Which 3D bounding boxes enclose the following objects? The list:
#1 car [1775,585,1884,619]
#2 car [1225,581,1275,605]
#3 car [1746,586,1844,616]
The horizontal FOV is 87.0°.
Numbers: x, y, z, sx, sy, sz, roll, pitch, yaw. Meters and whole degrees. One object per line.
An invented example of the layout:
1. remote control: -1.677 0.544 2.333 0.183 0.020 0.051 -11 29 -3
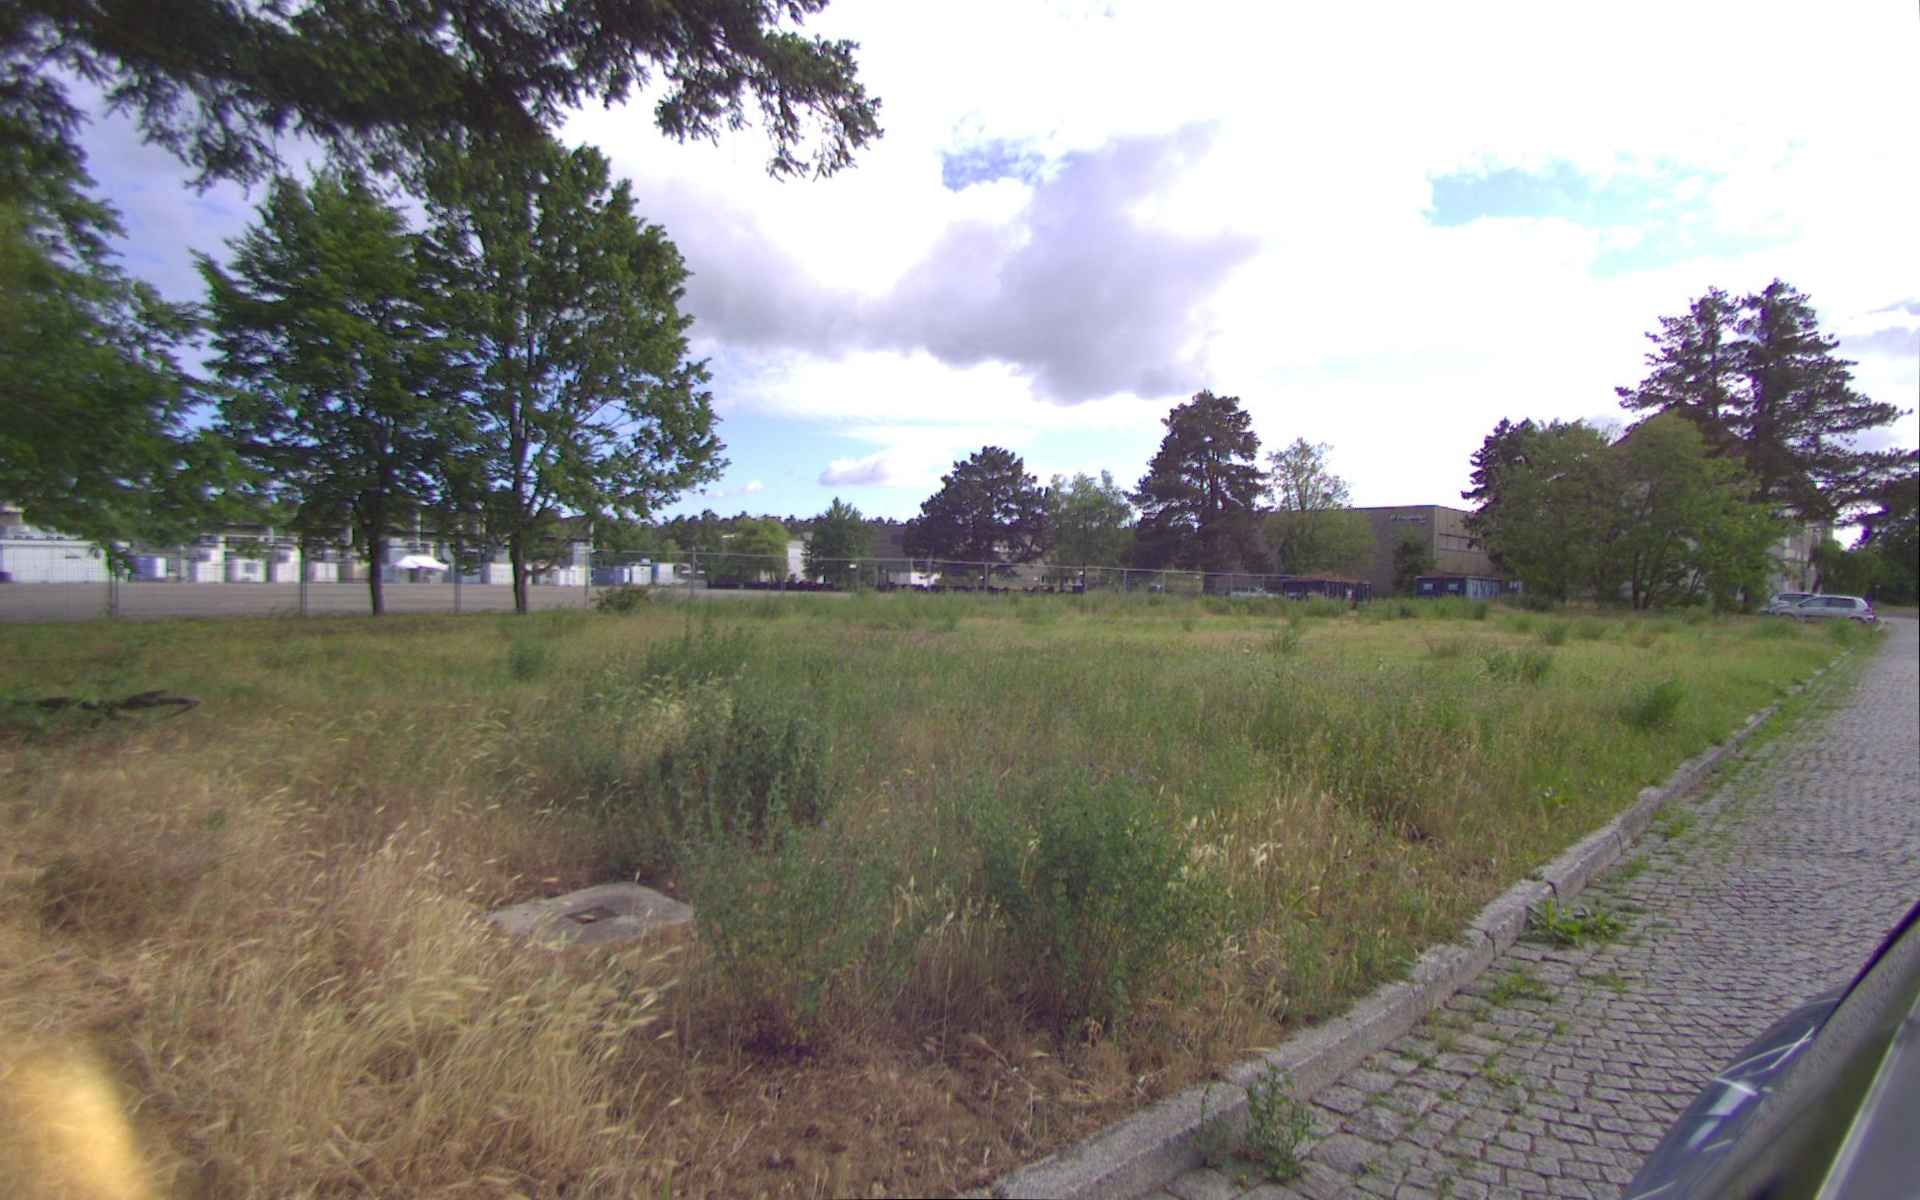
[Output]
1. car: 39.896 0.100 46.515 3.715 1.456 1.603 -1 0 41
2. car: 24.541 -0.594 85.704 3.703 1.928 1.998 2 0 4
3. car: 42.419 0.050 51.532 3.709 1.456 1.605 -1 0 37
